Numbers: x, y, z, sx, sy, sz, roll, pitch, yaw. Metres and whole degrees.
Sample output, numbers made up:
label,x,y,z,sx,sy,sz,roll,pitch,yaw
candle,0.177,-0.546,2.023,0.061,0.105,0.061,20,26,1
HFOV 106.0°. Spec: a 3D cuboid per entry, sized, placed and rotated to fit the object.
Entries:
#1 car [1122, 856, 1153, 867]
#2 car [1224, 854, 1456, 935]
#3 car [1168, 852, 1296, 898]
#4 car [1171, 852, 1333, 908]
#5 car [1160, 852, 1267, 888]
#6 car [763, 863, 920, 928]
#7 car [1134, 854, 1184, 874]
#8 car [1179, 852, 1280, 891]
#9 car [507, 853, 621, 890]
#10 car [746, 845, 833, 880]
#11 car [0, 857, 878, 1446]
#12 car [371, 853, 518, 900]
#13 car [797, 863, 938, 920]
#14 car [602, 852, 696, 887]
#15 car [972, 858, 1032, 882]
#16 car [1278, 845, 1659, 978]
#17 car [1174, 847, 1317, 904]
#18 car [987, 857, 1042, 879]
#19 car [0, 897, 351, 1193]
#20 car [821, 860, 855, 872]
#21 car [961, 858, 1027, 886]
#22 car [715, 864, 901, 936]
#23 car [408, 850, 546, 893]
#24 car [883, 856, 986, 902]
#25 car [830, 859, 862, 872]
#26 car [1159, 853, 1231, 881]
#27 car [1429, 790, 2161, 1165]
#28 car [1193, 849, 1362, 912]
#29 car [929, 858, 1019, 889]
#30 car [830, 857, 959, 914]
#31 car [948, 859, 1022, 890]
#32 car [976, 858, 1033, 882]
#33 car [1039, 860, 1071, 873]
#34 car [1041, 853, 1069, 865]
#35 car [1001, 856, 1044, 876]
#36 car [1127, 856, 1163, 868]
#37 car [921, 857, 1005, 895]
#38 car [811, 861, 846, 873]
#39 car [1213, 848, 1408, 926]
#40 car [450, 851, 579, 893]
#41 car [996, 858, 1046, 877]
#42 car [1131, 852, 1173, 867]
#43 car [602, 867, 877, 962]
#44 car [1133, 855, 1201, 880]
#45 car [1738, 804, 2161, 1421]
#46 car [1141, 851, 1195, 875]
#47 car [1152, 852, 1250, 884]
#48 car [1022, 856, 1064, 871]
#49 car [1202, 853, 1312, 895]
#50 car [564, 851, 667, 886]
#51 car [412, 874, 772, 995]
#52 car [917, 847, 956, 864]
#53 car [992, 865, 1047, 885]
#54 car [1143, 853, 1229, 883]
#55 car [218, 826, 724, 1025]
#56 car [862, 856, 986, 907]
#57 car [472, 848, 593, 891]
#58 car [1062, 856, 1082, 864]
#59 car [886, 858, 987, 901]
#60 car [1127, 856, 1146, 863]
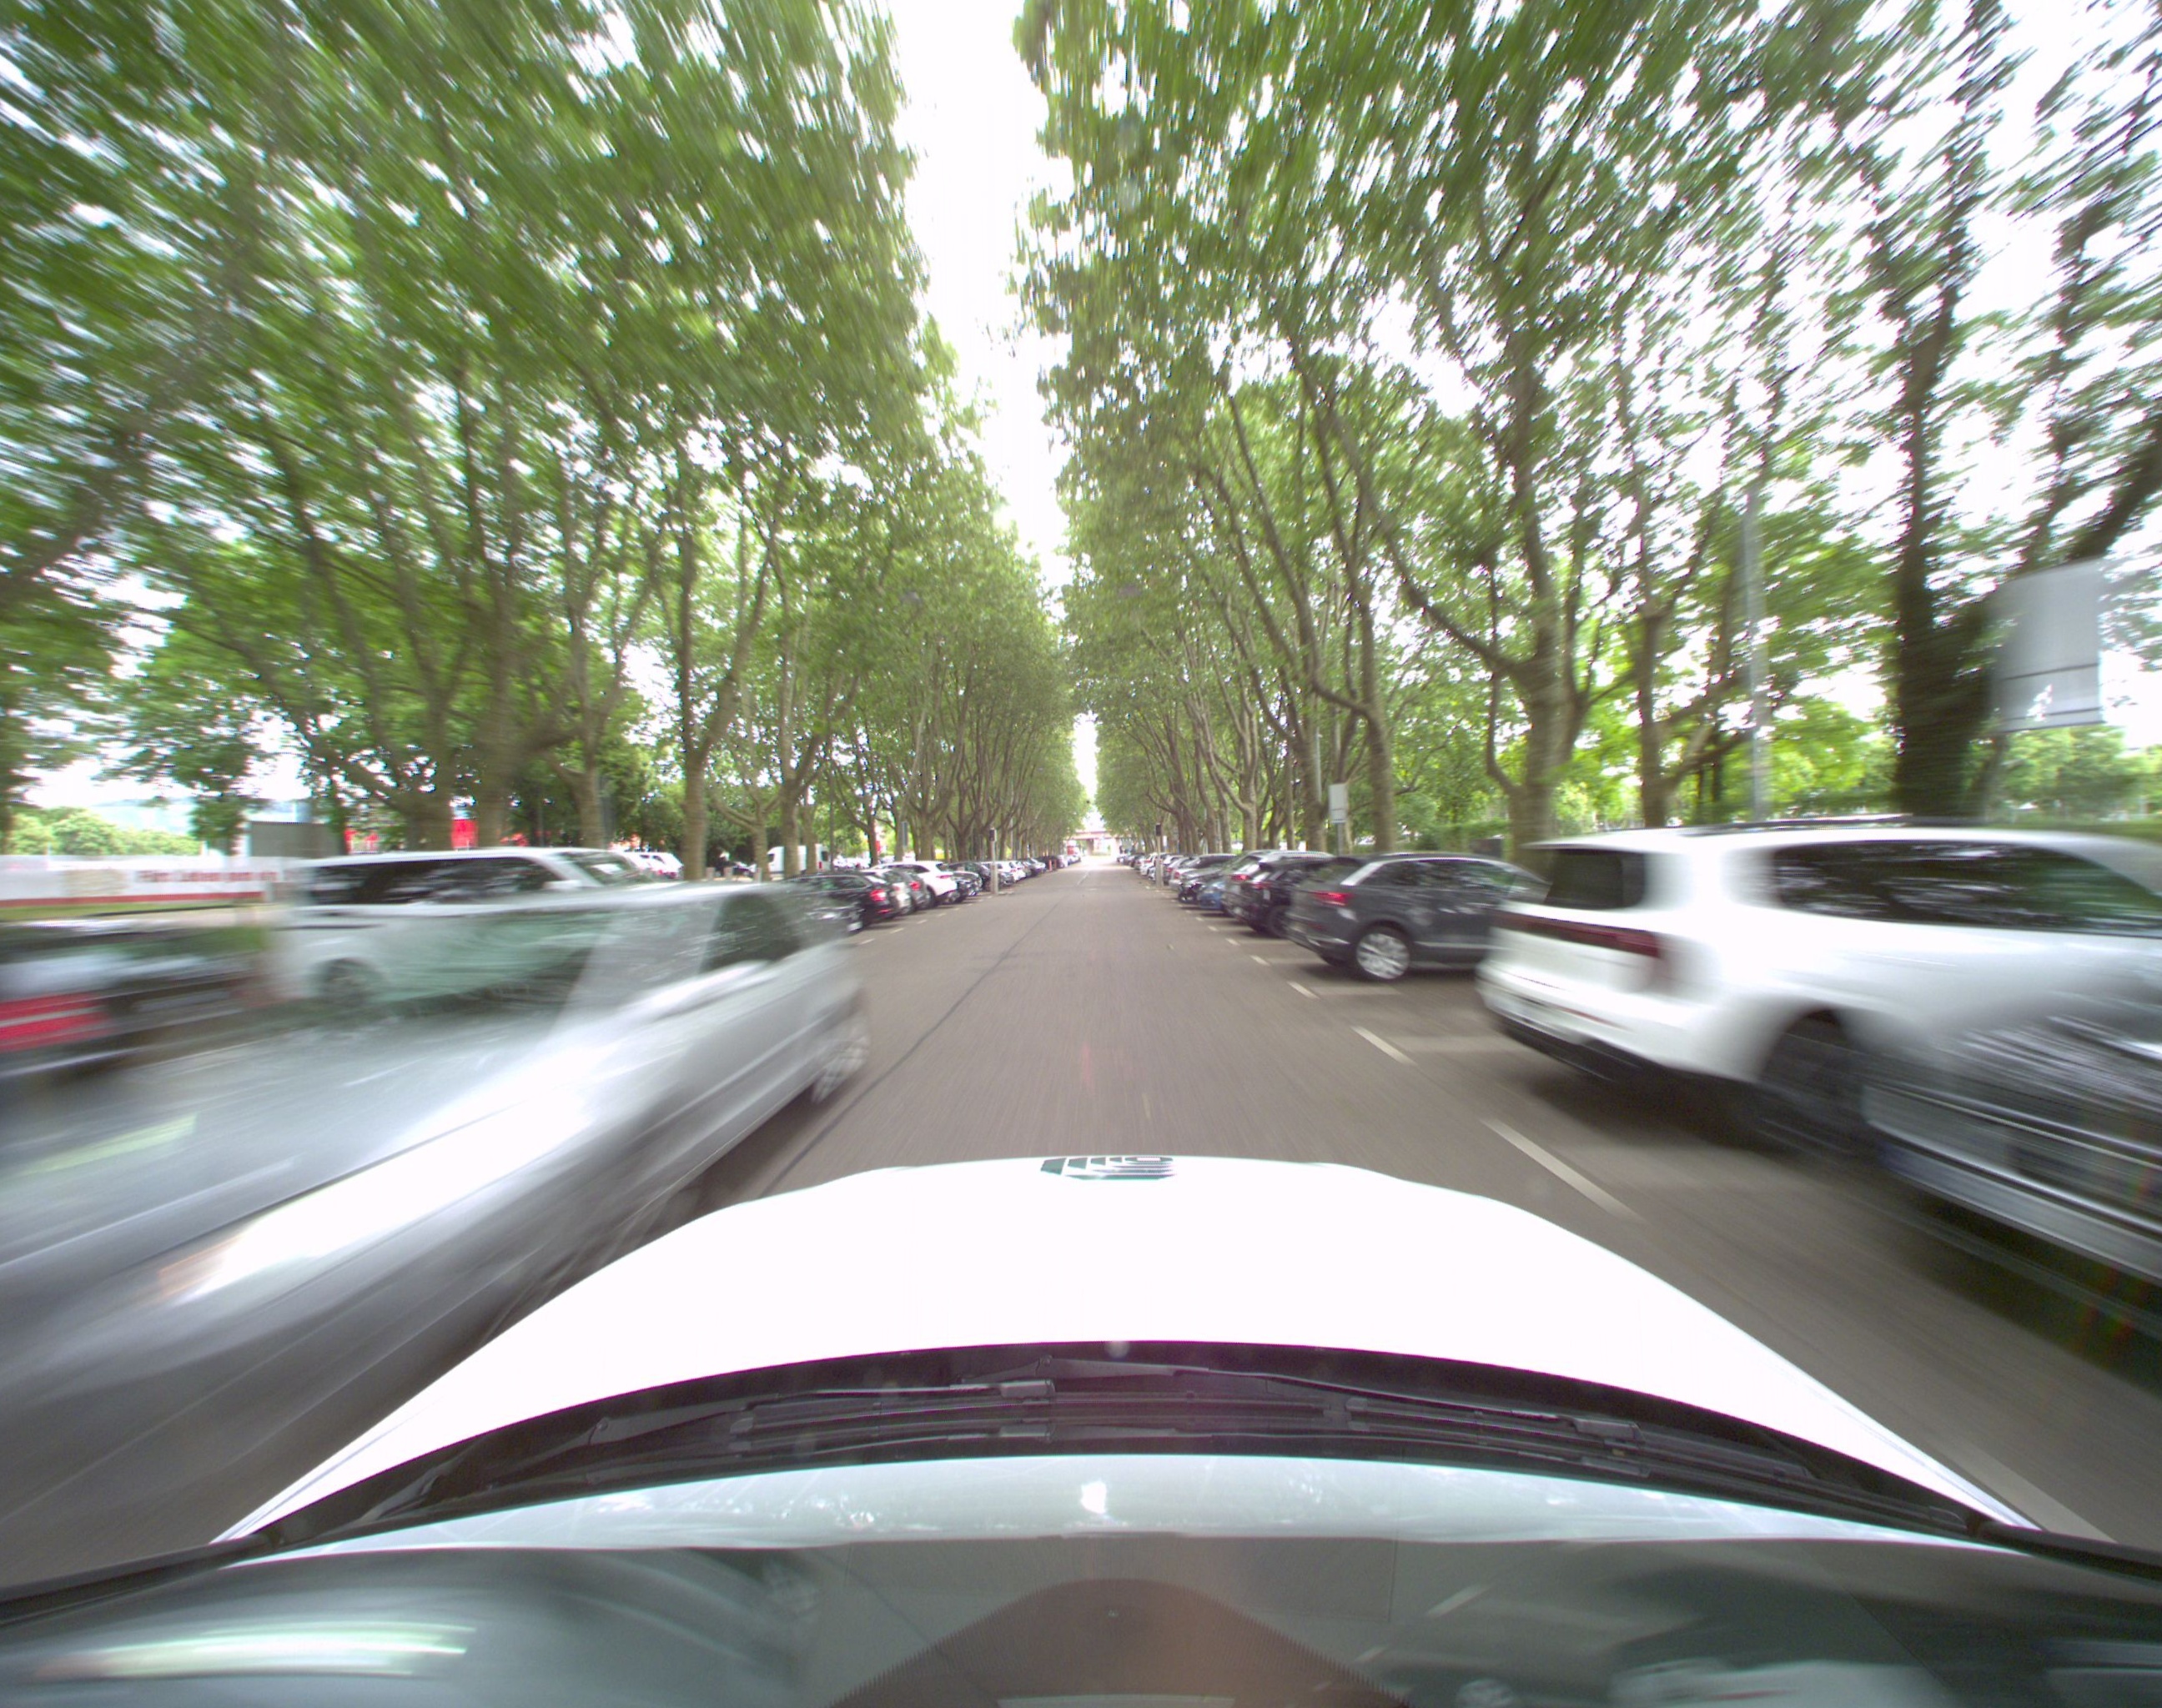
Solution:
label,x,y,z,sx,sy,sz,roll,pitch,yaw
car,7.806,1.055,111.743,4.154,1.442,1.734,-1,0,6
car,4.722,0.705,15.229,3.815,1.389,1.694,-1,0,-1
car,5.097,0.697,27.864,4.098,1.470,1.695,-1,0,1
car,4.700,0.692,22.733,4.198,1.451,1.610,-1,0,-1
car,5.674,0.689,35.160,4.351,1.470,1.624,-1,0,0
car,-6.619,1.124,22.831,3.744,1.474,1.864,-4,0,0
car,5.988,0.762,62.980,3.636,1.424,1.984,-1,0,-2
car,5.871,0.688,32.586,3.762,1.470,1.667,-1,0,1
car,-32.952,1.084,51.975,5.980,2.240,2.000,-1,0,1
car,-21.957,0.627,61.427,5.764,2.597,2.001,-1,0,2
car,-2.382,0.806,4.092,1.683,1.471,3.839,-3,0,0
car,-32.615,1.128,41.863,5.980,2.252,2.000,-1,0,1
car,-6.517,1.135,25.143,3.816,1.471,1.693,-3,0,-2
car,-32.683,1.159,61.730,5.980,2.527,2.000,-1,0,1
car,-5.373,1.080,55.644,3.815,1.429,1.802,-3,0,0
car,4.648,0.658,10.177,3.974,1.486,1.694,-1,0,-1
car,5.015,0.654,25.224,4.098,1.670,1.695,-1,0,1
car,-5.046,1.072,62.454,4.010,1.429,1.693,-3,0,-2
car,-7.296,1.159,4.996,3.975,1.413,1.682,-4,0,-1
car,-30.898,1.520,103.593,3.744,1.349,1.535,-1,0,-1
car,-5.336,1.109,50.382,3.816,1.497,1.693,-3,0,-2
car,-6.620,1.094,20.028,3.985,1.471,1.536,-3,0,-2
car,-32.771,0.928,44.294,5.980,2.252,2.000,-1,0,1
car,-5.914,0.999,33.236,3.816,1.608,1.833,-3,0,-2
car,-30.813,1.529,106.897,3.744,1.590,1.535,-1,0,-1
car,6.332,0.702,45.354,3.766,1.470,1.622,-1,0,-2
car,4.603,0.573,4.785,4.370,1.755,1.800,0,0,-1
car,4.800,0.633,20.256,3.815,1.455,1.694,-1,0,-1
car,-5.546,1.010,42.575,4.389,1.365,1.693,-3,0,-2
car,-6.201,1.033,27.441,3.816,1.627,1.952,-3,0,-2
car,-5.288,1.117,45.097,3.816,1.429,1.693,-3,0,-2
car,-5.427,1.128,57.941,3.816,1.429,1.693,-3,0,-2
car,-3.373,1.574,105.192,3.794,1.354,1.665,-4,0,6
car,-3.884,0.718,121.800,3.794,1.602,1.789,-4,0,6
car,-5.381,1.108,75.225,3.816,1.554,1.693,-3,0,-2
car,8.198,1.013,104.605,4.551,1.486,2.004,-1,0,6
car,-5.726,1.061,39.916,3.816,1.608,1.693,-3,0,-2
car,-30.971,1.603,99.827,3.743,1.349,1.535,-1,0,0
car,4.954,0.690,17.935,3.815,1.607,1.694,-1,0,-1
car,-32.587,1.027,46.954,5.980,2.318,2.000,-1,0,1
car,-5.295,1.161,72.487,4.321,1.429,1.693,-3,0,-2
car,6.775,0.517,77.661,3.905,1.452,1.555,-1,0,0
car,-6.381,1.109,15.484,4.426,1.452,1.777,-3,0,5
car,5.554,0.856,52.737,4.156,1.596,1.853,-1,0,-2
car,4.811,0.632,2.551,4.172,1.557,1.700,-1,0,-1
car,6.138,0.645,57.797,3.636,1.667,1.518,-1,0,-2
car,5.835,0.686,39.865,4.598,1.470,1.650,-1,0,0
car,-4.385,1.078,94.870,4.650,1.427,2.000,-4,0,0
car,6.425,0.720,30.079,3.760,1.470,1.625,-1,0,2
car,-32.378,1.003,56.733,5.980,2.330,2.000,-1,0,1
car,-7.409,1.180,12.658,4.433,1.452,1.774,-3,0,0
car,-19.650,0.224,110.751,5.061,2.232,1.535,-1,0,0
car,-5.081,1.723,67.442,4.389,1.429,1.693,-3,0,-2
car,5.445,0.711,42.572,4.286,1.470,1.622,-1,0,-2
car,-7.482,0.827,10.377,4.877,2.019,1.920,-3,0,0
car,-5.751,1.009,30.142,4.050,1.608,1.801,-3,0,3
car,-33.305,0.930,49.585,5.980,2.527,2.000,-1,0,1
car,-1.864,1.213,166.532,3.796,1.515,1.688,-1,0,4
car,-6.257,1.078,35.503,4.032,1.608,1.693,-3,-1,-2
car,12.655,1.166,186.297,4.359,1.523,1.732,-1,0,2
